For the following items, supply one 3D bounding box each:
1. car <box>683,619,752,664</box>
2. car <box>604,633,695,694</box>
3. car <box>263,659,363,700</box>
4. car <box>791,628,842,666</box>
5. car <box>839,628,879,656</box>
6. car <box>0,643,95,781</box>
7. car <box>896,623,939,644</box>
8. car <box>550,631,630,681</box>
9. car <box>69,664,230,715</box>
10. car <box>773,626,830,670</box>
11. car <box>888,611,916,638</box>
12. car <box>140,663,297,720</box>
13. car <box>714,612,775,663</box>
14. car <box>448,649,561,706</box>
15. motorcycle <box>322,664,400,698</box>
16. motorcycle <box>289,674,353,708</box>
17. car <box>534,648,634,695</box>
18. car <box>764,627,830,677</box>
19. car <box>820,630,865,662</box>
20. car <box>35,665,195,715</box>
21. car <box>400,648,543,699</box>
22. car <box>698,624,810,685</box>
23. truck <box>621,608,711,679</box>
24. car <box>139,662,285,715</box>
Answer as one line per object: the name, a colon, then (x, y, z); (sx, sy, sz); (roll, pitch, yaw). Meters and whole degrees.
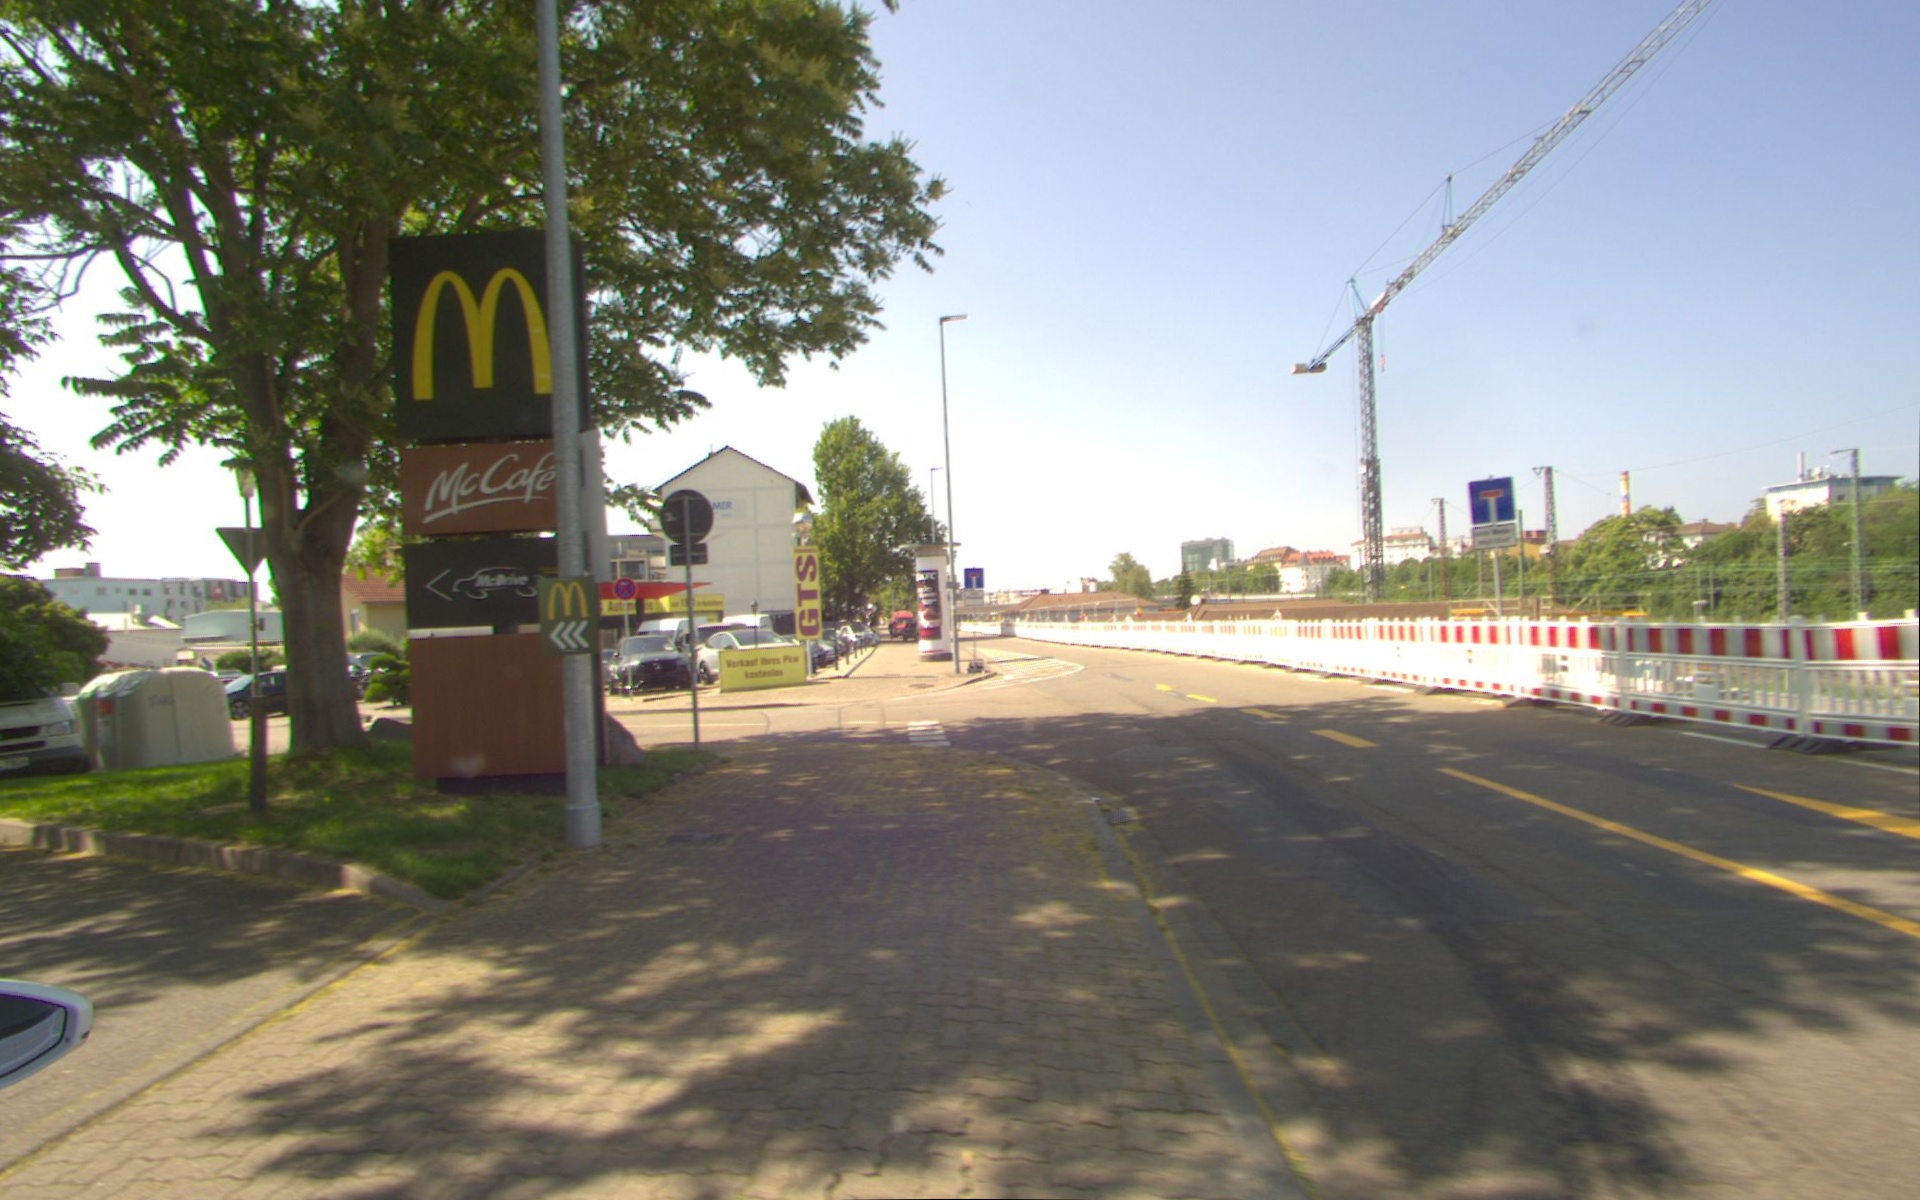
car: (-10.265, 1.735, 42.721); (1.847, 1.760, 4.724); (-1, -2, -1)
car: (-9.333, 1.857, 29.836); (2.020, 1.614, 4.410); (-1, -2, -25)
car: (-27.759, 3.419, 42.945); (3.941, 1.605, 1.992); (-3, -2, 29)
car: (-6.874, 2.225, 47.659); (1.829, 1.650, 3.995); (-2, -1, -16)
car: (-6.523, 2.701, 64.386); (1.829, 1.650, 3.995); (-2, -1, -16)
car: (-13.311, 1.420, 13.250); (4.971, 1.603, 1.944); (-3, -2, 39)
car: (-3.616, 2.853, 85.451); (3.248, 1.658, 1.711); (0, -3, -43)
car: (-16.376, 2.446, 44.532); (1.961, 2.039, 4.498); (-2, -2, -2)
car: (-32.299, 3.522, 40.085); (1.966, 1.747, 4.646); (-3, -3, 20)
car: (-6.700, 1.997, 42.060); (1.829, 1.650, 3.995); (-2, -1, -16)
car: (-5.716, 2.476, 99.357); (2.496, 2.551, 5.121); (-2, -2, -2)
car: (-25.907, 3.156, 35.114); (1.969, 1.727, 3.986); (-3, -2, 27)
car: (-10.432, 1.812, 48.764); (2.101, 2.313, 4.712); (-2, -1, -3)
car: (-13.754, 2.293, 30.502); (1.759, 1.529, 4.002); (-2, -2, -3)
motorcycle: (-24.445, 3.301, 40.950); (0.982, 1.242, 2.714); (-2, -2, 19)
motorcycle: (-23.873, 3.392, 37.458); (0.780, 1.173, 1.861); (-3, -2, 39)
car: (-13.580, 2.545, 36.392); (1.759, 1.506, 4.001); (-2, -2, 6)
car: (-5.967, 1.864, 36.331); (1.829, 1.650, 3.995); (-2, -1, -16)
car: (-6.638, 2.555, 56.155); (1.829, 1.650, 3.995); (-2, -1, -16)
car: (-34.488, 3.634, 41.033); (1.966, 1.747, 4.646); (-3, -3, 20)
car: (-17.580, 2.606, 36.092); (4.286, 1.605, 1.985); (0, -3, -40)
car: (-6.541, 1.721, 31.549); (1.975, 1.747, 3.974); (-1, -2, -36)
truck: (-13.145, 1.933, 45.221); (2.232, 2.941, 5.945); (-1, -2, 1)
car: (-28.022, 3.282, 37.654); (1.966, 1.747, 3.994); (-3, -3, 19)
